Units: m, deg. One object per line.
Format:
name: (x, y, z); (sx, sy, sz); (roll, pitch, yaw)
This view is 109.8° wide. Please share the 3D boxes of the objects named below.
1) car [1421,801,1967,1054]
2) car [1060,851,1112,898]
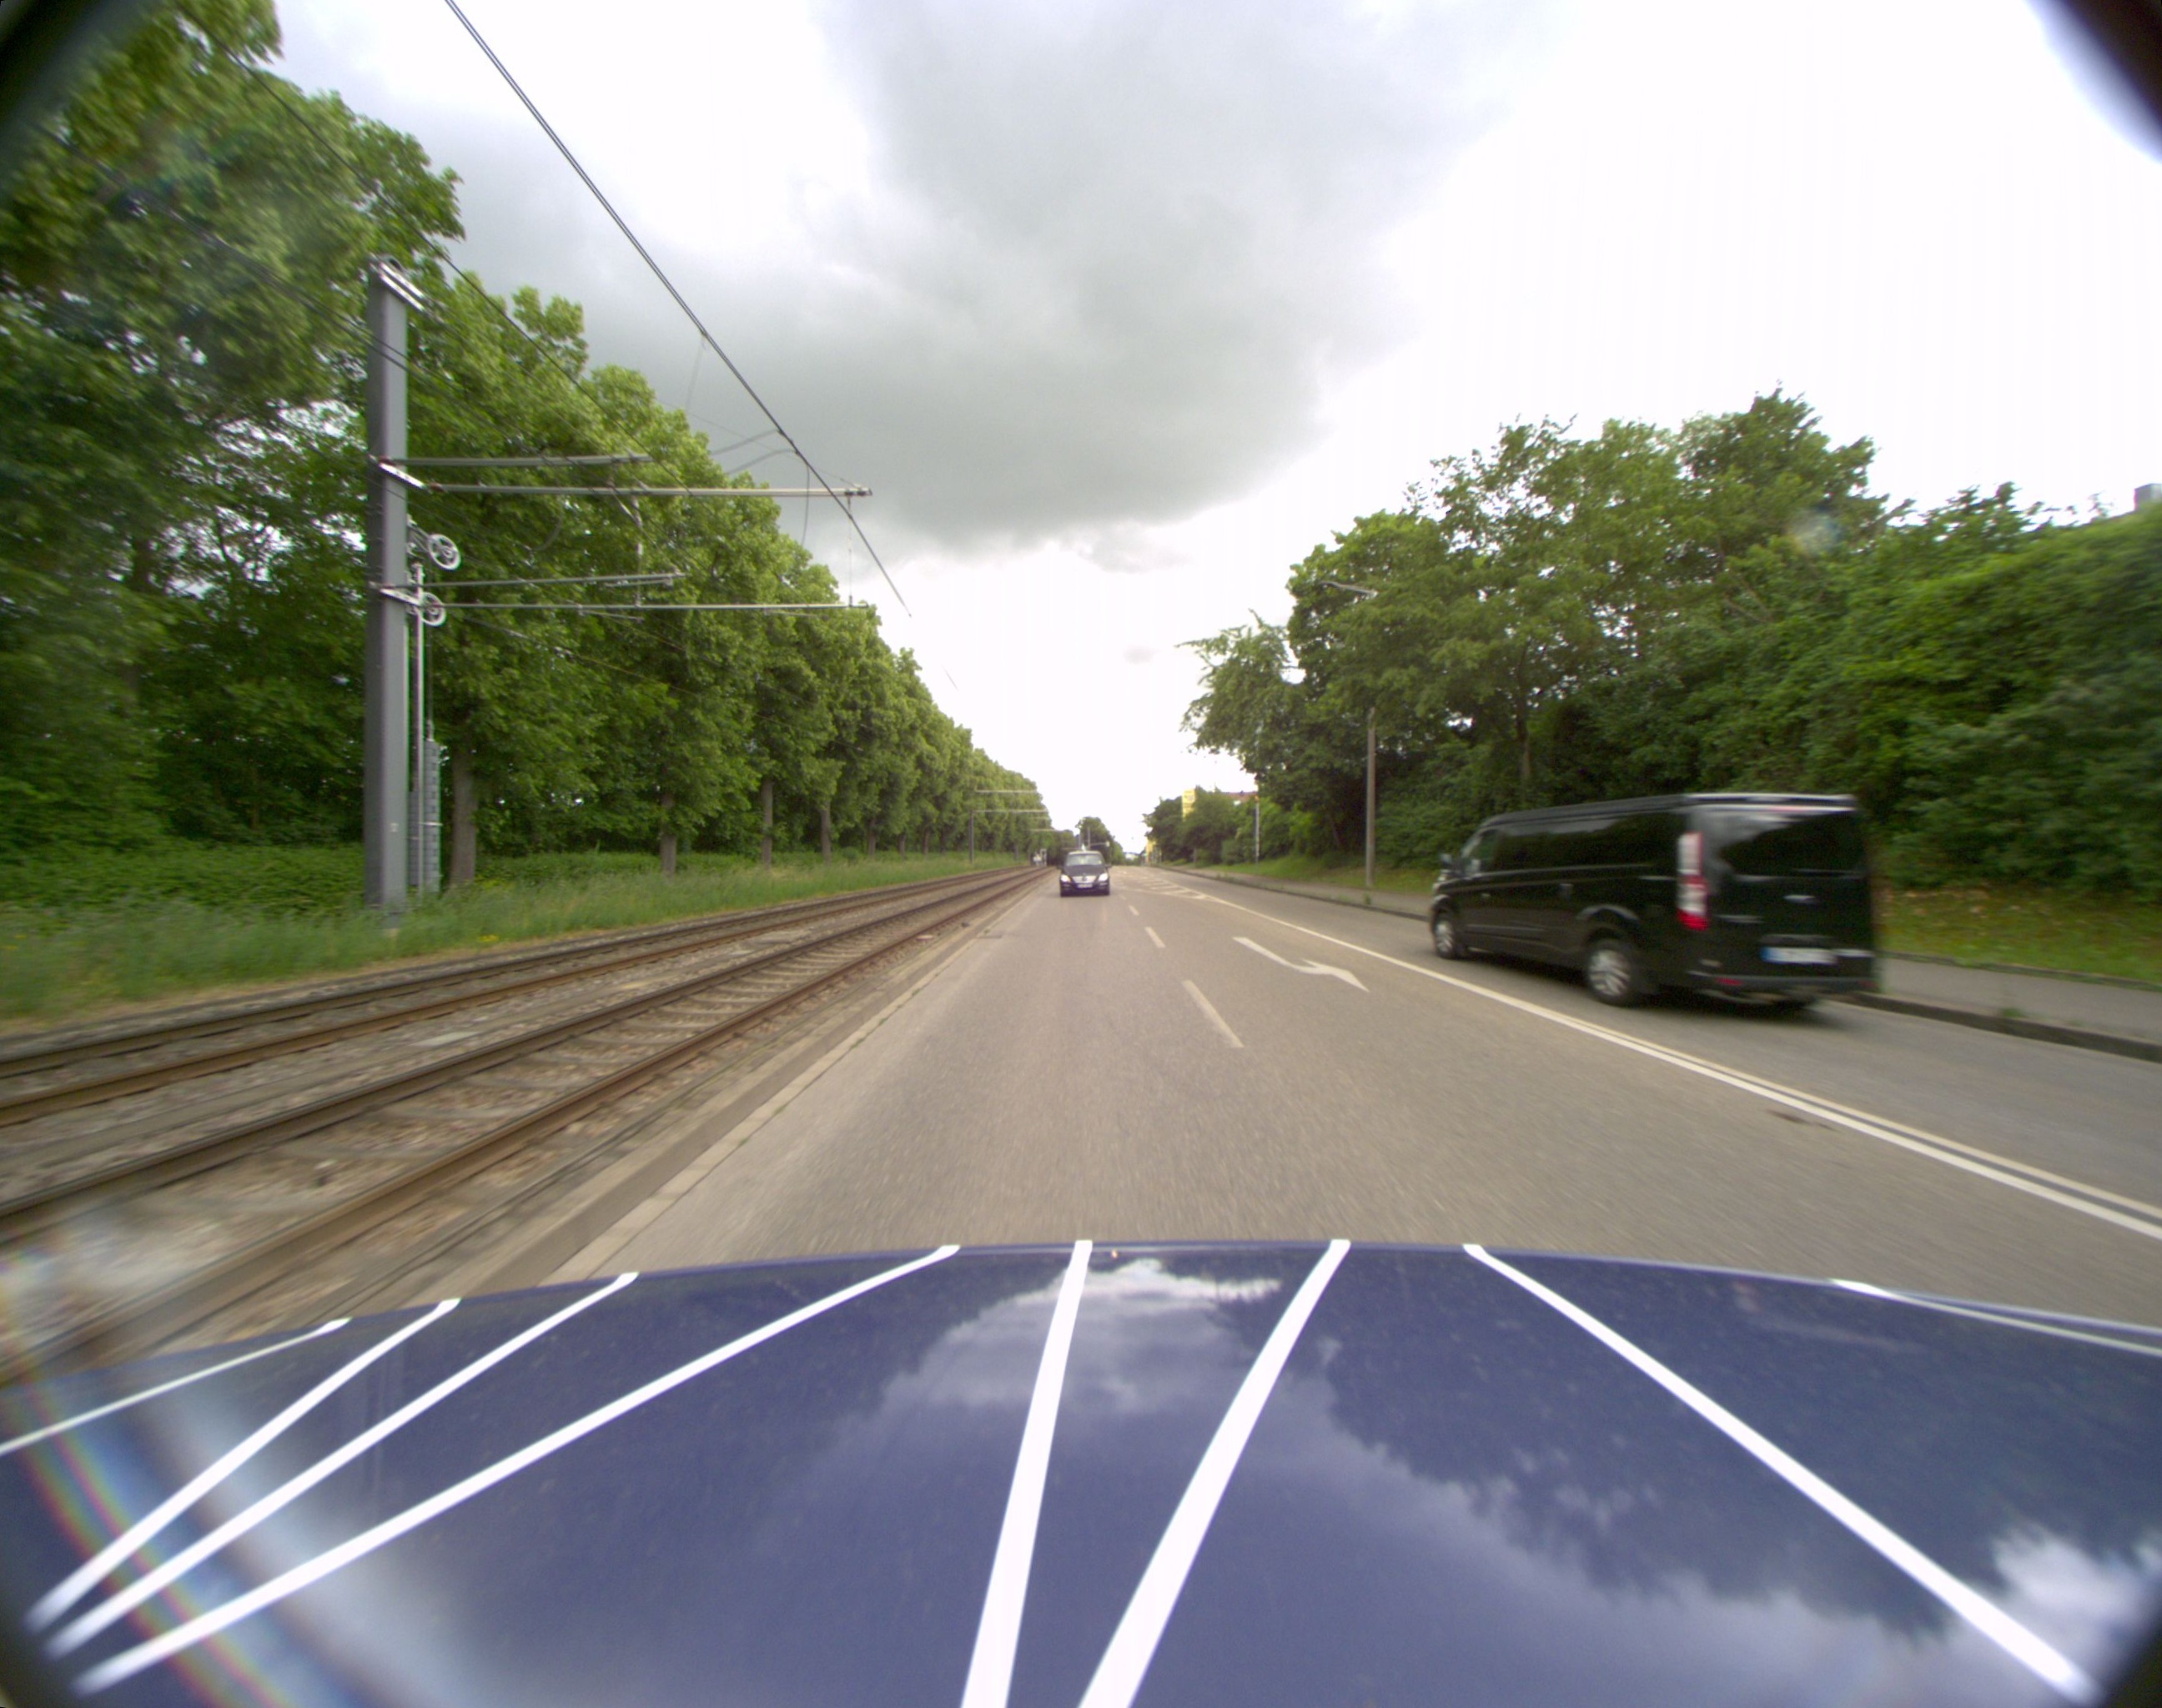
car: (6.110, 0.580, 8.707); (1.999, 2.024, 5.114); (1, 1, -1)
car: (0.251, 0.686, 28.051); (1.749, 1.558, 4.122); (-1, 0, 2)
